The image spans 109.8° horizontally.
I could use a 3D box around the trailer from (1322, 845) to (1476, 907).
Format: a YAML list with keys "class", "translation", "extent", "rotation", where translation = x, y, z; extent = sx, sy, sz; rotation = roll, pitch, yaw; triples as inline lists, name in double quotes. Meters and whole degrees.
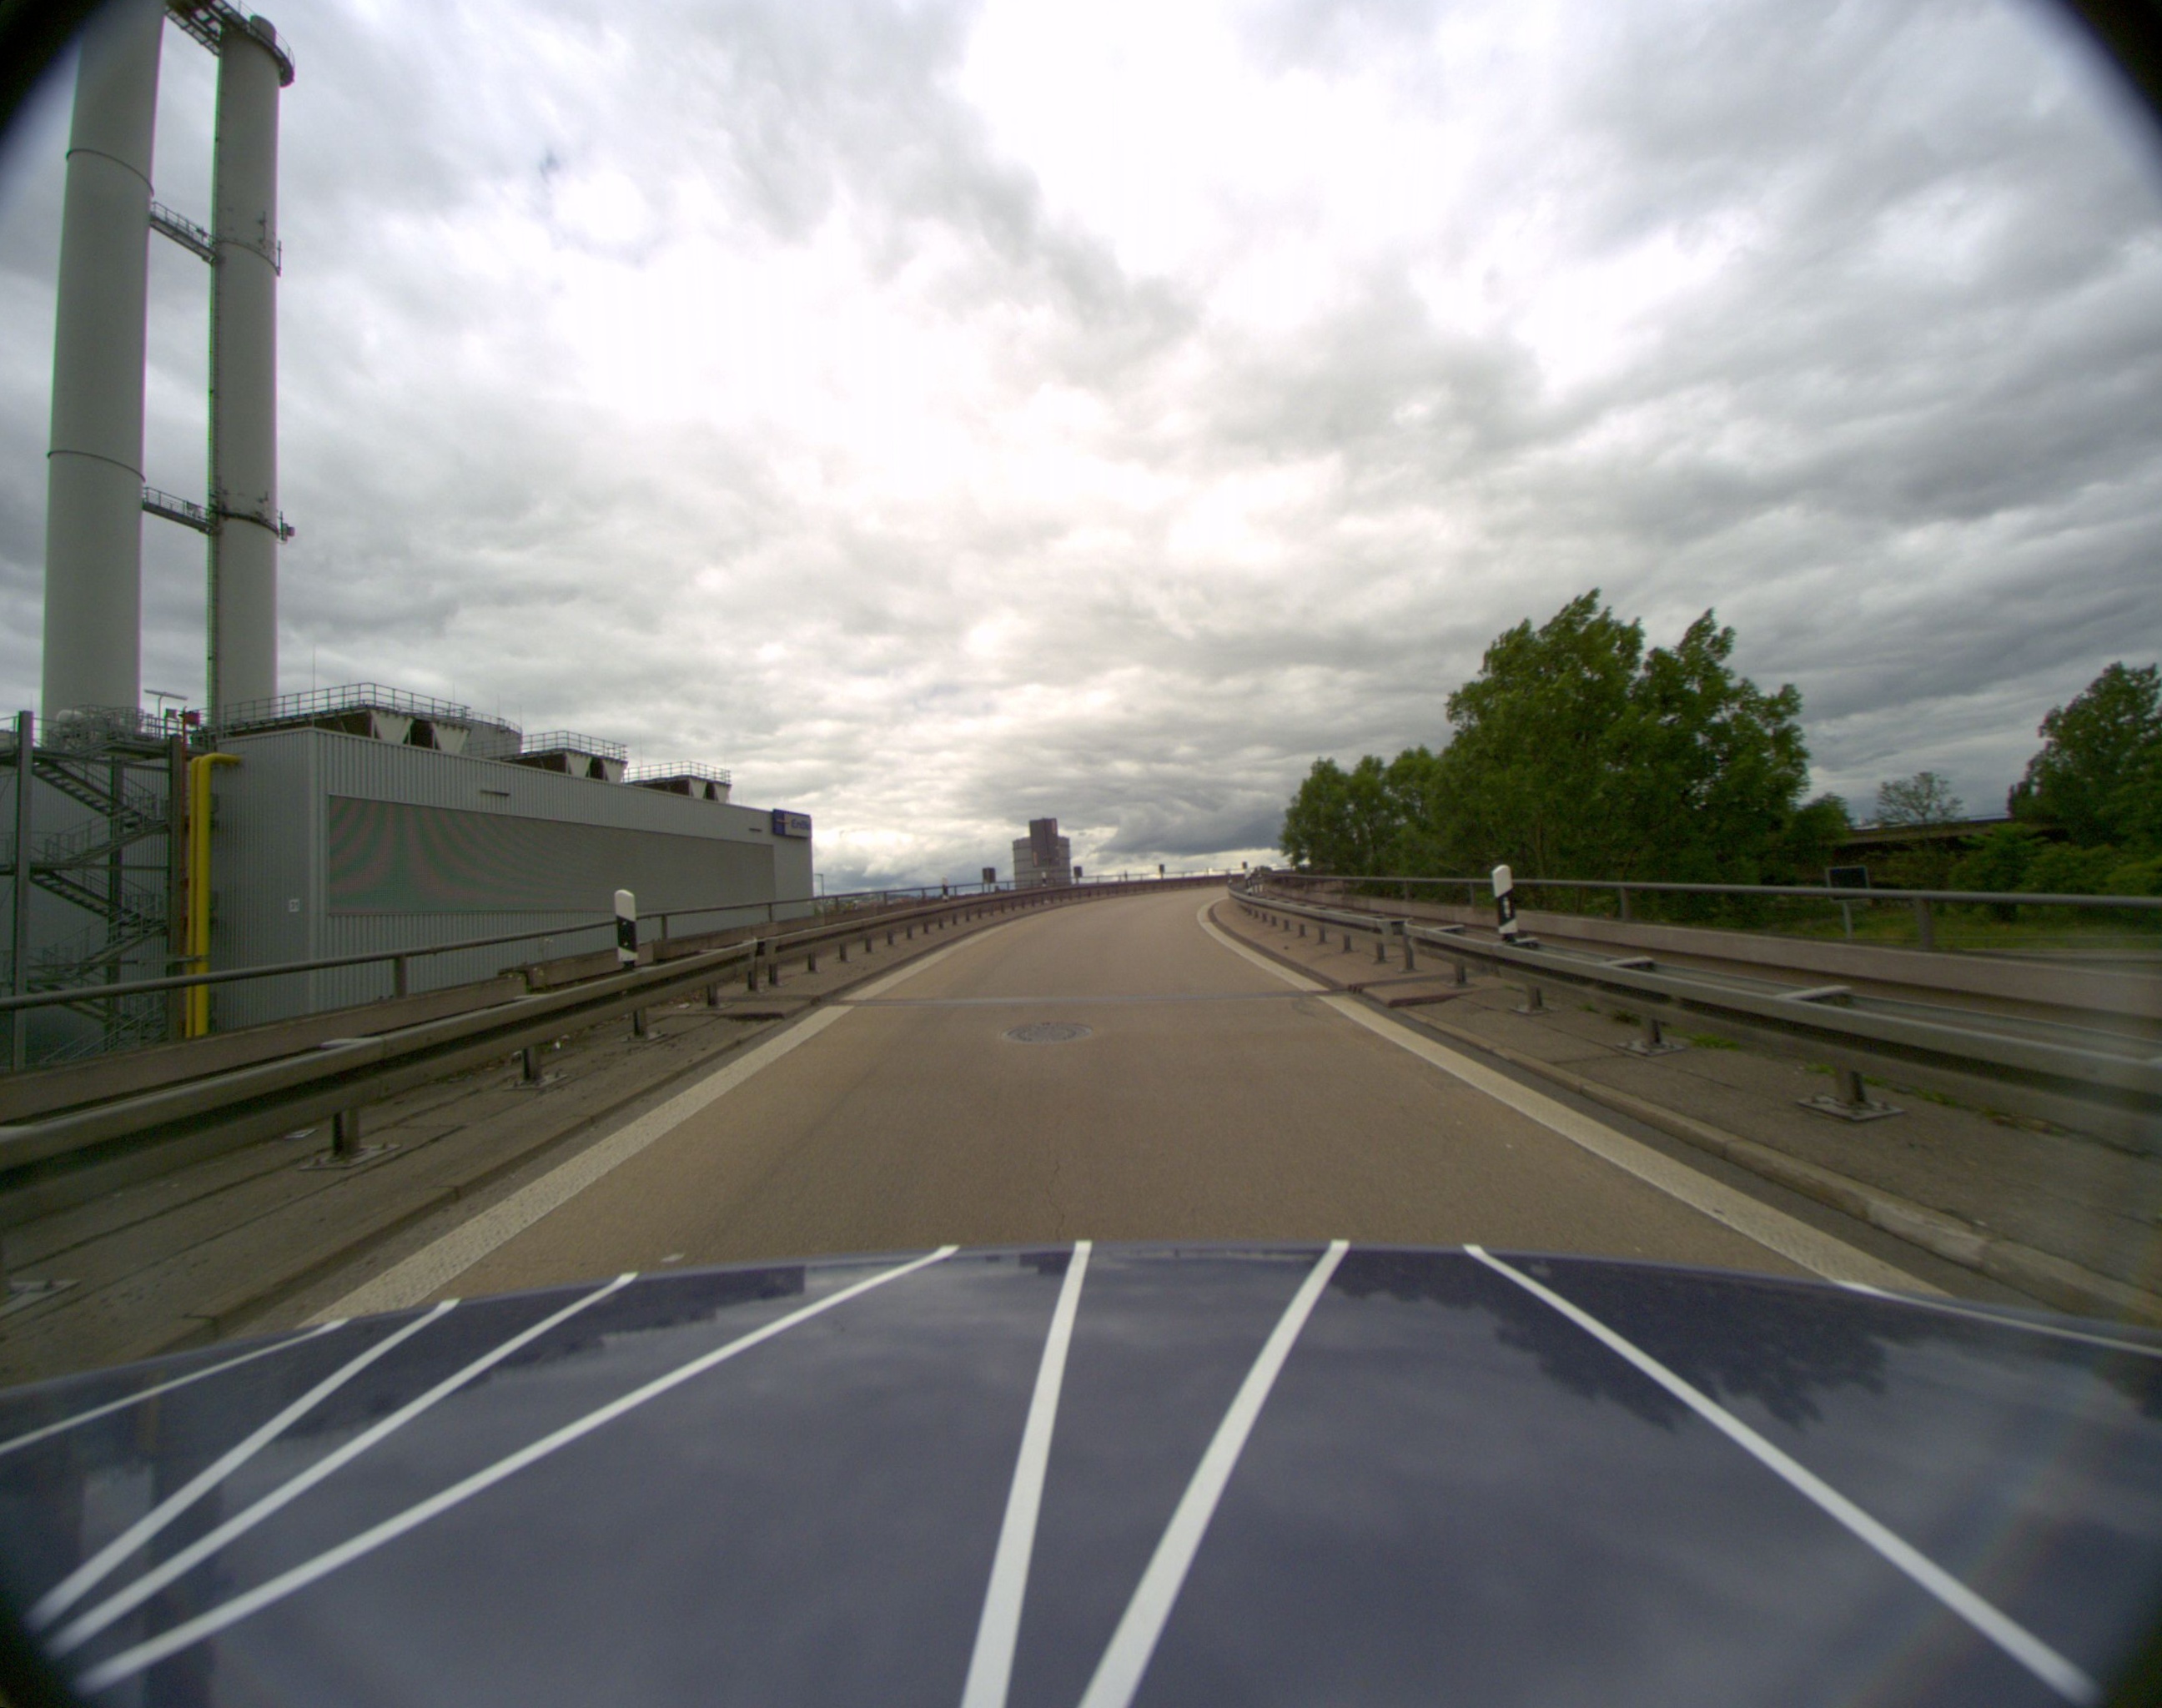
- class: "trailer"
  translation: [26.836, 1.802, 63.753]
  extent: [13.911, 4.217, 4.121]
  rotation: [-3, -3, -31]

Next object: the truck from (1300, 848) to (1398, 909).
- class: "truck"
  translation: [21.223, 1.983, 60.294]
  extent: [5.974, 4.276, 4.161]
  rotation: [-3, -3, -31]
